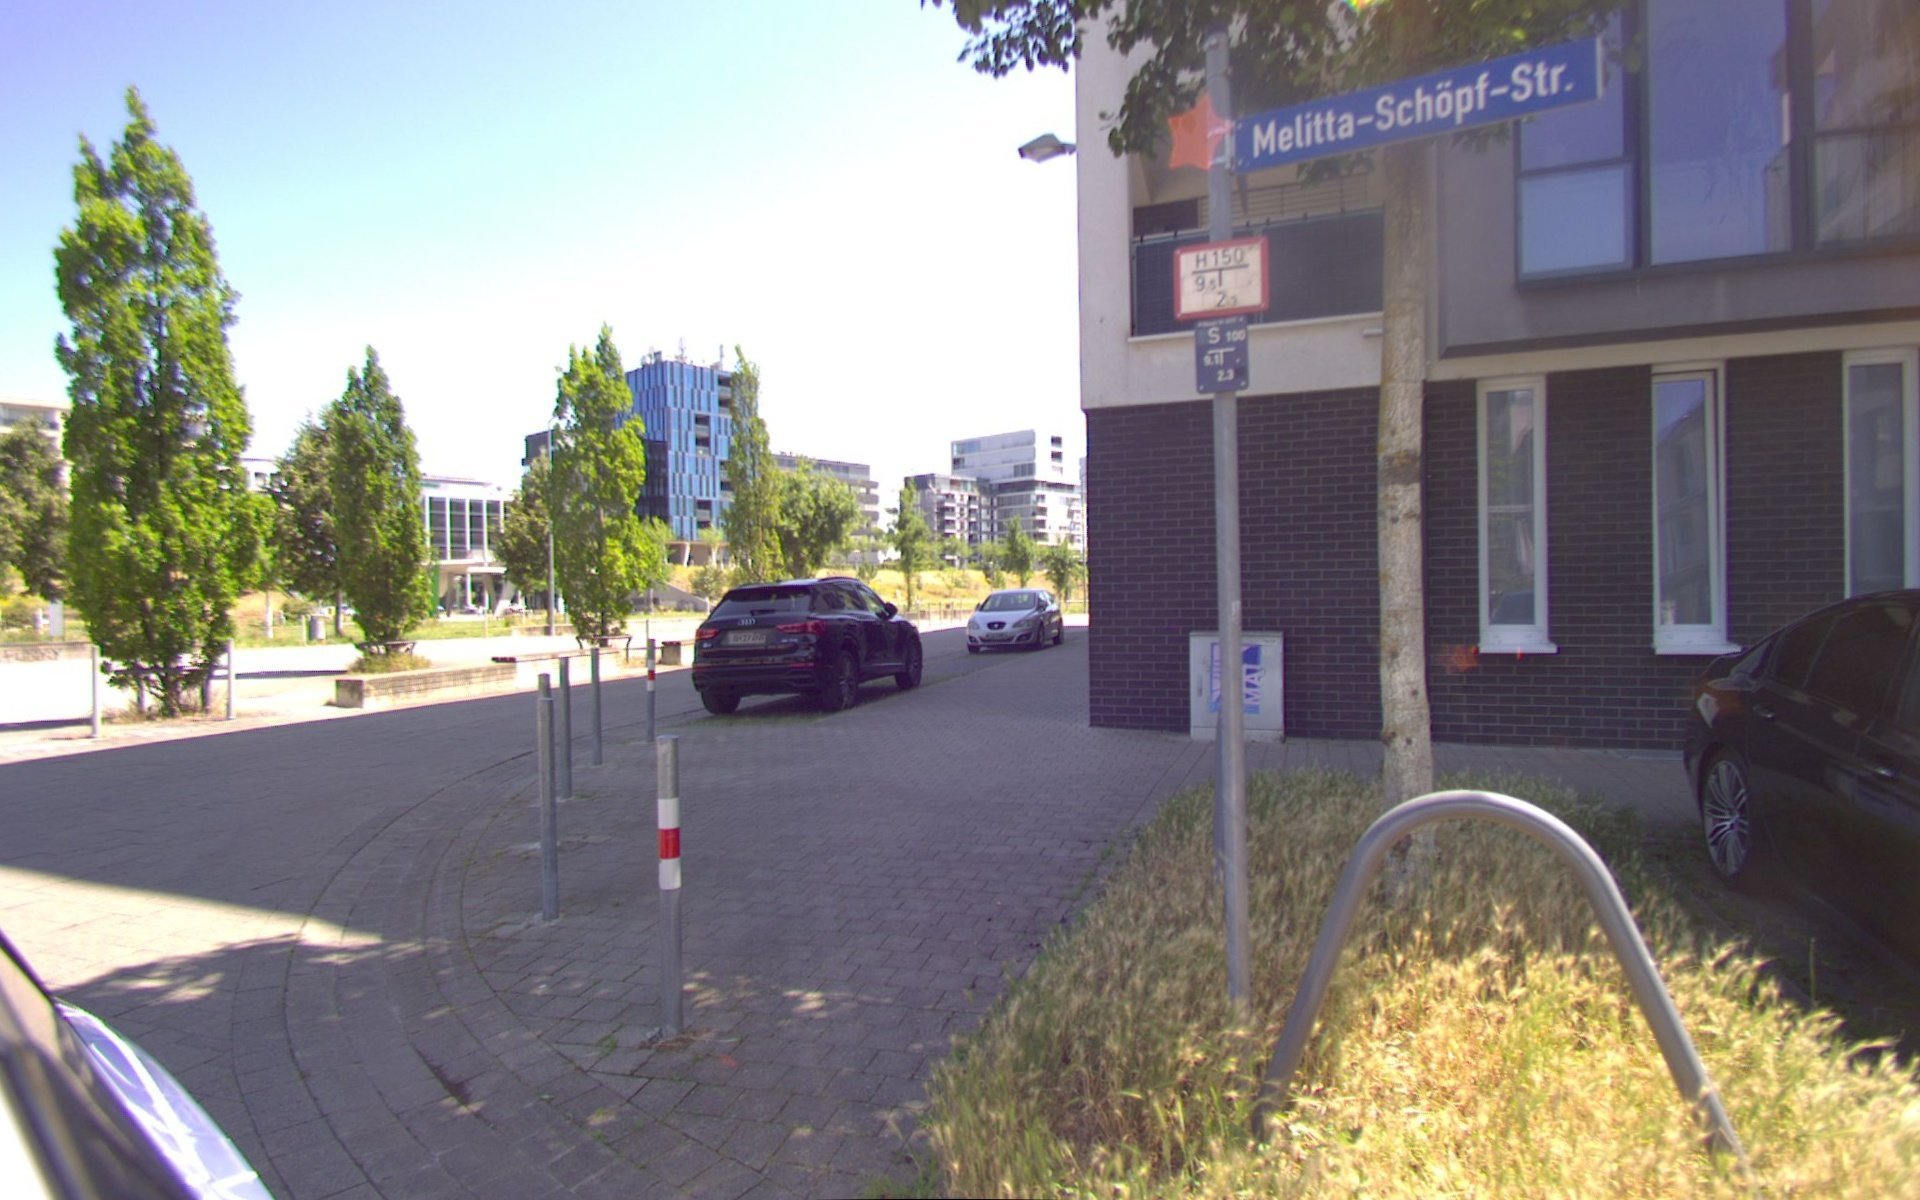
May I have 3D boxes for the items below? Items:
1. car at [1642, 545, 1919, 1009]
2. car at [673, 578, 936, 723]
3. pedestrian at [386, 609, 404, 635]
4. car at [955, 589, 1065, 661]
[{"bbox_3d":[4.021,0.566,3.029,1.912,1.496,5.085,0,0,18],"label":"car"},{"bbox_3d":[-1.777,0.567,13.173,1.762,1.531,4.376,-3,-1,14],"label":"car"},{"bbox_3d":[-37.899,1.455,67.883,0.803,1.740,0.616,-1,0,-5],"label":"pedestrian"},{"bbox_3d":[1.302,0.566,24.375,1.772,1.516,4.095,-3,-1,15],"label":"car"}]
